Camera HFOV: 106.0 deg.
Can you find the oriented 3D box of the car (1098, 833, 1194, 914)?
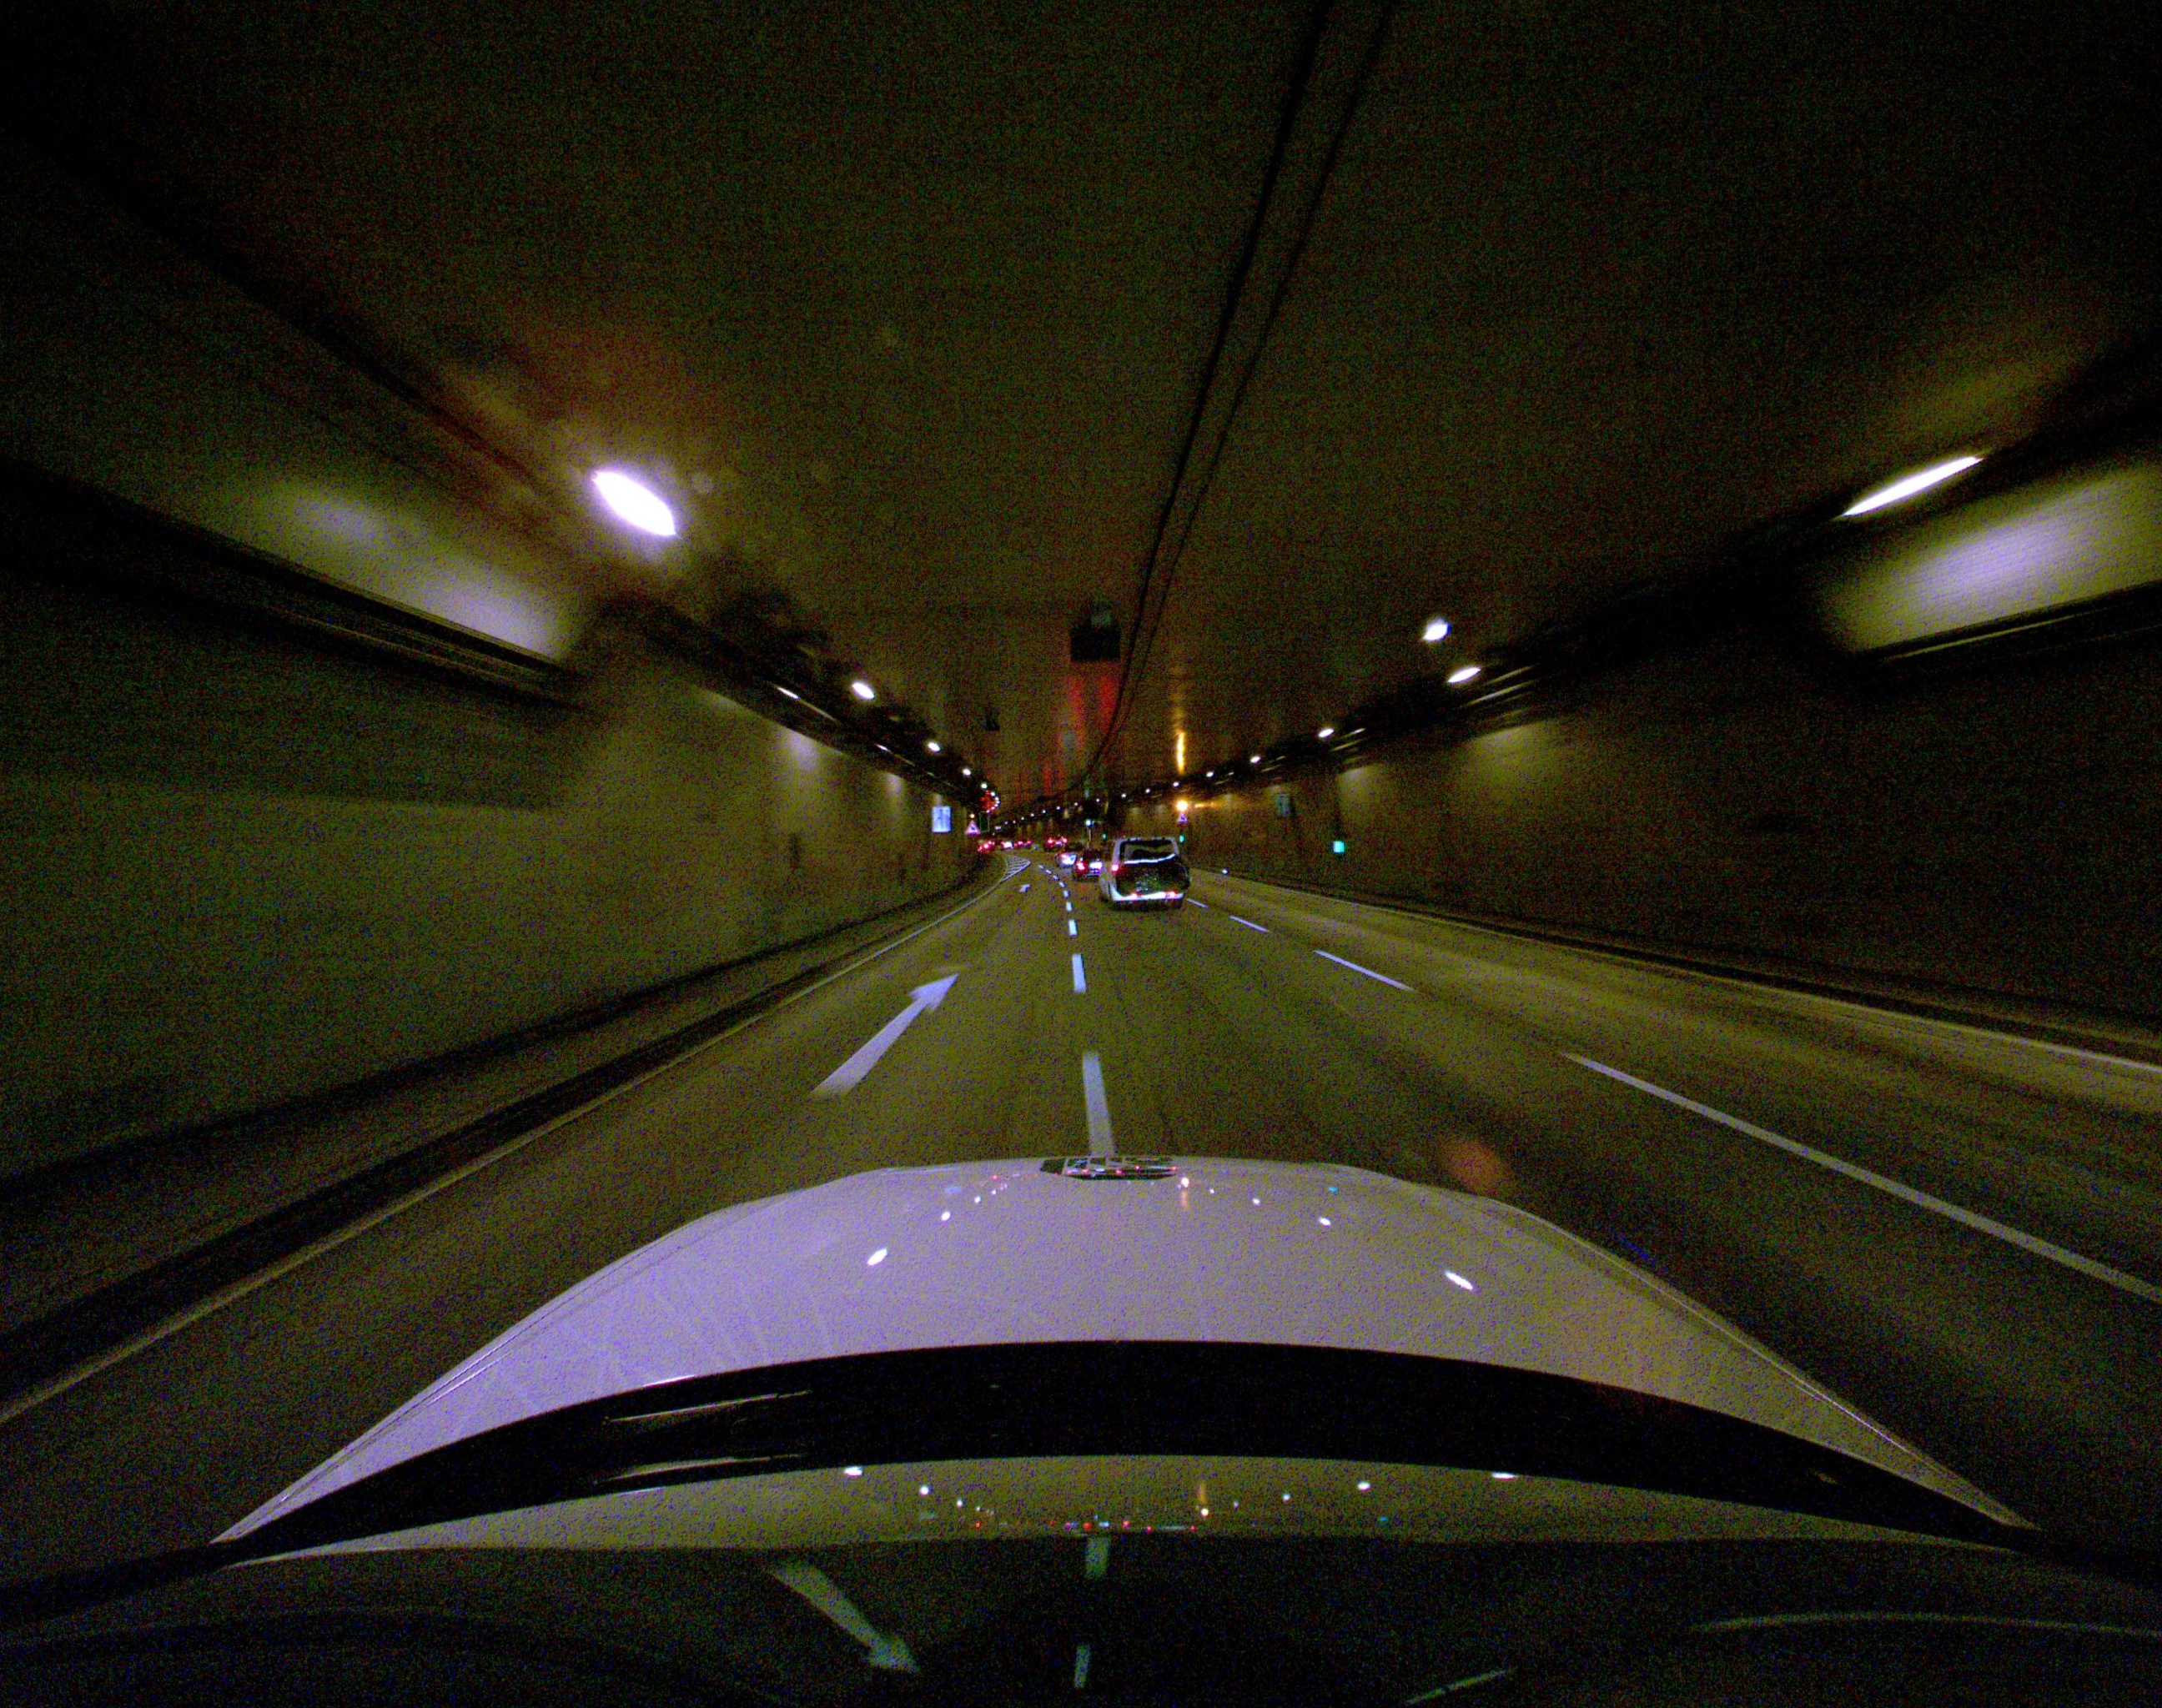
[{"bbox_3d":[1.581,0.414,21.763,1.988,1.847,5.298,-2,1,-2],"label":"car"}]

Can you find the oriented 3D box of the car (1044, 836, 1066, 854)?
[{"bbox_3d":[-2.614,-0.889,80.741,1.604,1.630,3.342,-1,-1,-11],"label":"car"}]

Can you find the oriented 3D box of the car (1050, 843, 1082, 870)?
[{"bbox_3d":[-0.957,0.145,50.538,1.602,1.594,3.347,-1,1,-8],"label":"car"}]

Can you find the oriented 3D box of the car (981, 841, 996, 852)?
[{"bbox_3d":[-13.661,-1.100,119.858,1.824,1.630,3.827,-1,-1,-12],"label":"car"}]

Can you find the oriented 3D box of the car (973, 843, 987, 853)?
[{"bbox_3d":[-17.308,-0.987,139.165,1.825,1.630,3.824,-1,-1,-15],"label":"car"}]

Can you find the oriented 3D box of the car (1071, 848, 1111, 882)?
[{"bbox_3d":[0.402,0.457,36.844,1.599,1.395,3.274,-1,1,-3],"label":"car"}]

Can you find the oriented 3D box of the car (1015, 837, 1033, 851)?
[{"bbox_3d":[-7.435,-1.297,105.351,1.823,1.630,3.828,-1,-1,-12],"label":"car"}]

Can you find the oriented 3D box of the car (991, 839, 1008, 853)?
[{"bbox_3d":[-10.273,-0.983,102.668,1.822,1.630,3.830,-1,-1,-10],"label":"car"}]

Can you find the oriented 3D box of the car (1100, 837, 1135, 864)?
[{"bbox_3d":[2.408,-0.212,55.055,1.869,1.761,3.993,-1,-1,-5],"label":"car"}]
